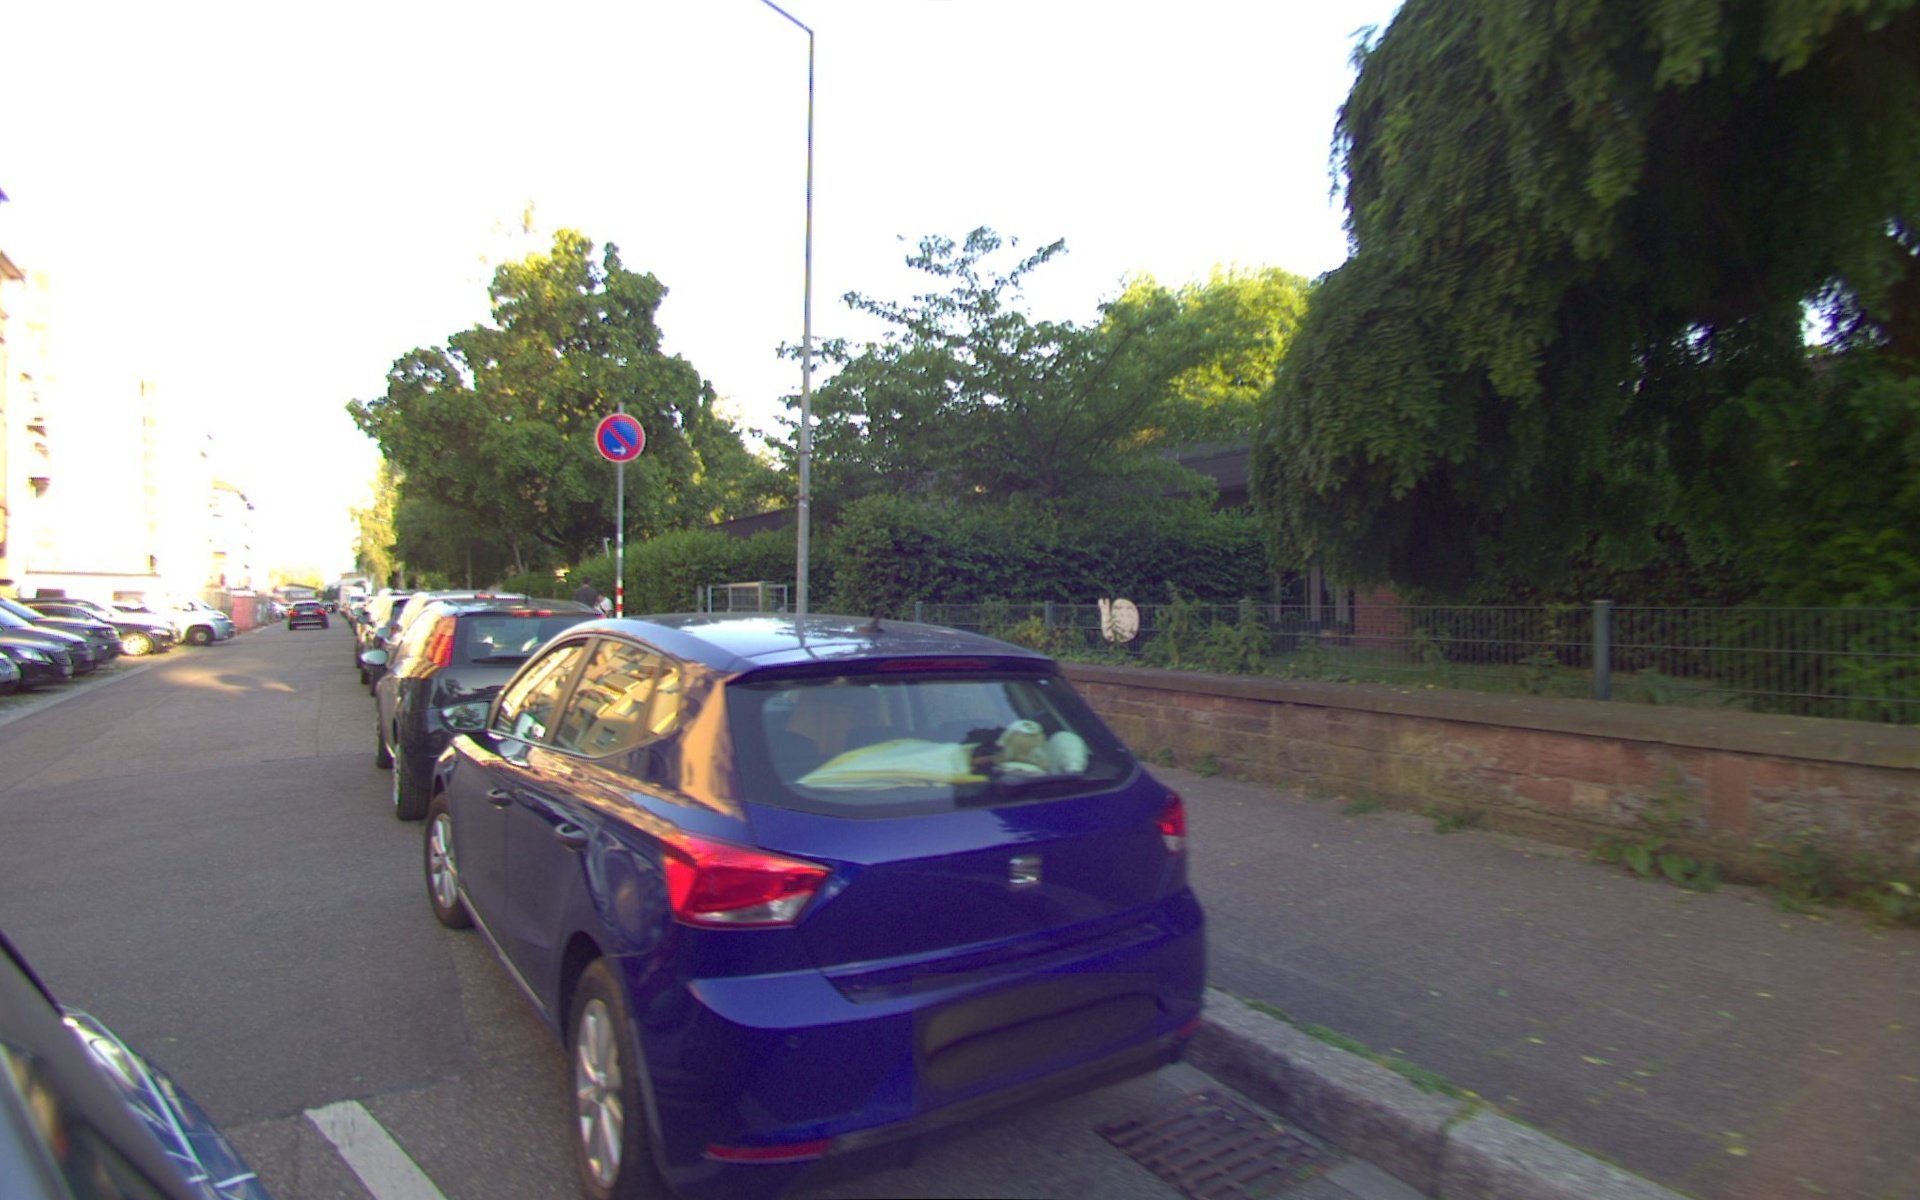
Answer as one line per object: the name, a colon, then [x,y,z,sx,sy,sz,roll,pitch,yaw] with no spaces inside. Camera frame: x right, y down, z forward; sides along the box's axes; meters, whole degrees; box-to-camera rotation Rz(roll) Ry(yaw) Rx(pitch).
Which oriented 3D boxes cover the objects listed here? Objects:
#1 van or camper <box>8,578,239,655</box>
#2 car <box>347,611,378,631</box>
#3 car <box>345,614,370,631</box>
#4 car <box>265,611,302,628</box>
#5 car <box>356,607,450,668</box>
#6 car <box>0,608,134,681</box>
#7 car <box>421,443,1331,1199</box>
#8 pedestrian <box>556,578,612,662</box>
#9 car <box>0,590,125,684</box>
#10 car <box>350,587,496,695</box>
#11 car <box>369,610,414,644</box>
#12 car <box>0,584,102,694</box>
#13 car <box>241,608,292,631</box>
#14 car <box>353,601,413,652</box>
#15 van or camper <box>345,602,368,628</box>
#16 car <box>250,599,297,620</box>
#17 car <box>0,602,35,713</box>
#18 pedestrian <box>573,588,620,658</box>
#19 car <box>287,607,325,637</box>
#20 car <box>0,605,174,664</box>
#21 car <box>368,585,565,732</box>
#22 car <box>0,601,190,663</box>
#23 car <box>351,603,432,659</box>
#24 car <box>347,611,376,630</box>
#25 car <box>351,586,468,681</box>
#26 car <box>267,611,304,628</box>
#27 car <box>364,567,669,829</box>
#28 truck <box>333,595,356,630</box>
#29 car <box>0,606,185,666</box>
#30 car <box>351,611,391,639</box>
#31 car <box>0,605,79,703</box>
van or camper: [-29.202,0.598,35.669,5.975,2.523,2.056,1,-1,-31]
car: [-41.845,1.476,70.854,1.710,1.377,4.303,0,-1,-32]
car: [-51.456,1.919,86.403,1.710,1.377,4.303,0,-1,-32]
car: [-89.619,2.574,134.055,3.932,2.029,2.006,-2,0,-32]
car: [-14.308,0.910,25.874,1.710,1.437,4.298,0,-1,-34]
car: [-21.740,0.980,22.983,4.342,1.565,1.851,0,1,-29]
car: [-0.798,0.555,3.774,1.710,1.579,3.800,0,-1,-35]
pedestrian: [-8.184,0.428,22.045,0.887,1.745,0.752,-5,2,-33]
car: [-20.138,0.749,20.743,4.450,1.877,1.851,0,-1,-32]
car: [-9.073,0.630,16.921,1.710,1.579,4.178,0,-1,-34]
car: [-24.997,1.175,44.483,1.597,1.436,3.425,0,-1,-31]
car: [-19.050,0.703,18.745,4.573,1.996,1.851,0,1,-32]
car: [-66.493,1.875,97.094,3.932,2.029,2.006,-2,0,-32]
car: [-19.846,0.890,34.750,1.709,1.644,3.992,0,-1,-31]
van or camper: [-57.356,1.434,96.173,1.795,2.433,4.303,0,-1,-32]
car: [-72.123,0.955,106.363,3.932,2.029,2.006,-2,0,-32]
car: [-16.508,0.849,14.628,4.343,1.604,1.851,0,1,-32]
pedestrian: [-8.400,0.522,23.365,0.738,1.519,0.904,-5,2,-33]
car: [-36.888,1.232,57.143,1.709,1.644,4.137,0,-1,-32]
car: [-28.388,1.086,32.796,4.342,1.630,1.851,-2,2,-30]
car: [-6.506,0.665,13.098,1.710,1.579,4.140,0,-1,-34]
car: [-26.482,0.933,30.991,4.341,1.761,1.852,0,1,-28]
car: [-17.055,0.894,30.268,1.735,1.554,4.291,0,-1,-34]
car: [-45.048,1.553,76.138,1.710,1.377,4.303,0,-1,-32]
car: [-11.514,0.659,21.016,1.710,1.743,4.334,0,-1,-34]
car: [-90.746,2.588,136.219,3.932,2.029,2.006,-2,0,-32]
car: [-3.730,0.622,8.130,1.710,1.579,3.707,0,-1,-32]
truck: [-72.169,1.485,118.707,2.147,3.911,4.941,-2,1,-32]
car: [-24.984,0.984,28.883,4.342,1.565,1.851,0,1,-31]
car: [-31.742,1.334,54.473,1.710,1.436,3.815,0,-1,-32]
car: [-17.540,0.885,16.655,4.343,1.574,1.851,0,1,-32]
